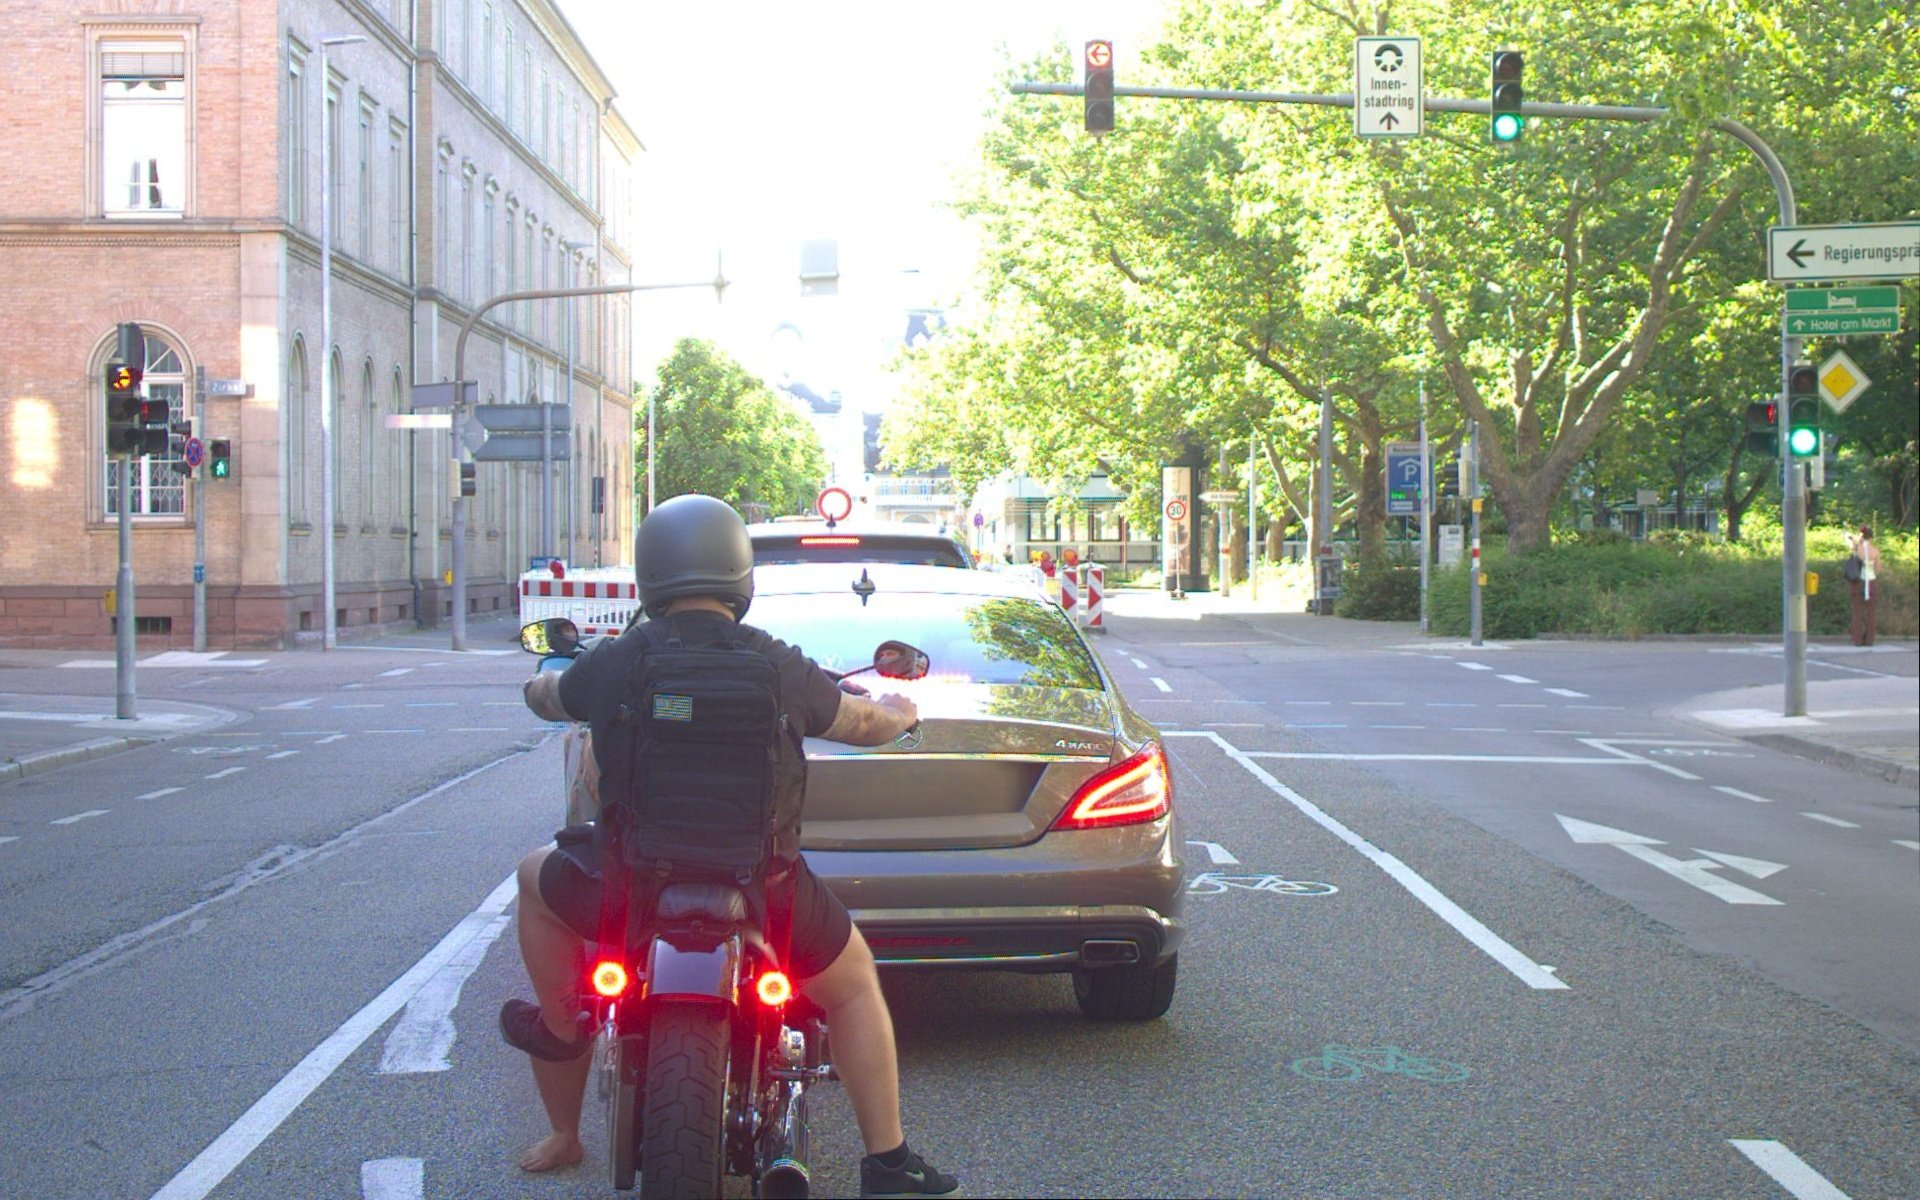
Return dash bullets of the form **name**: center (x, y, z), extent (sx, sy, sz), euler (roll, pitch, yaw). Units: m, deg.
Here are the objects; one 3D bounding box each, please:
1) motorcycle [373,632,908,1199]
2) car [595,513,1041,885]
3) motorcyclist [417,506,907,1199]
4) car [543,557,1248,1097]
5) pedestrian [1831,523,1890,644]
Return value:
- **motorcycle**: center (-0.611, 0.739, 7.581), extent (0.980, 1.271, 2.407), euler (0, 1, -1)
- **car**: center (-0.665, 0.429, 17.562), extent (1.993, 1.660, 4.000), euler (1, 1, -1)
- **motorcyclist**: center (-0.609, 0.587, 7.555), extent (0.980, 1.573, 1.248), euler (0, 1, -1)
- **car**: center (-0.431, 0.587, 11.640), extent (1.869, 1.439, 4.431), euler (0, 1, -8)
- **pedestrian**: center (13.258, -0.240, 50.610), extent (0.678, 1.766, 0.616), euler (1, 0, 29)
